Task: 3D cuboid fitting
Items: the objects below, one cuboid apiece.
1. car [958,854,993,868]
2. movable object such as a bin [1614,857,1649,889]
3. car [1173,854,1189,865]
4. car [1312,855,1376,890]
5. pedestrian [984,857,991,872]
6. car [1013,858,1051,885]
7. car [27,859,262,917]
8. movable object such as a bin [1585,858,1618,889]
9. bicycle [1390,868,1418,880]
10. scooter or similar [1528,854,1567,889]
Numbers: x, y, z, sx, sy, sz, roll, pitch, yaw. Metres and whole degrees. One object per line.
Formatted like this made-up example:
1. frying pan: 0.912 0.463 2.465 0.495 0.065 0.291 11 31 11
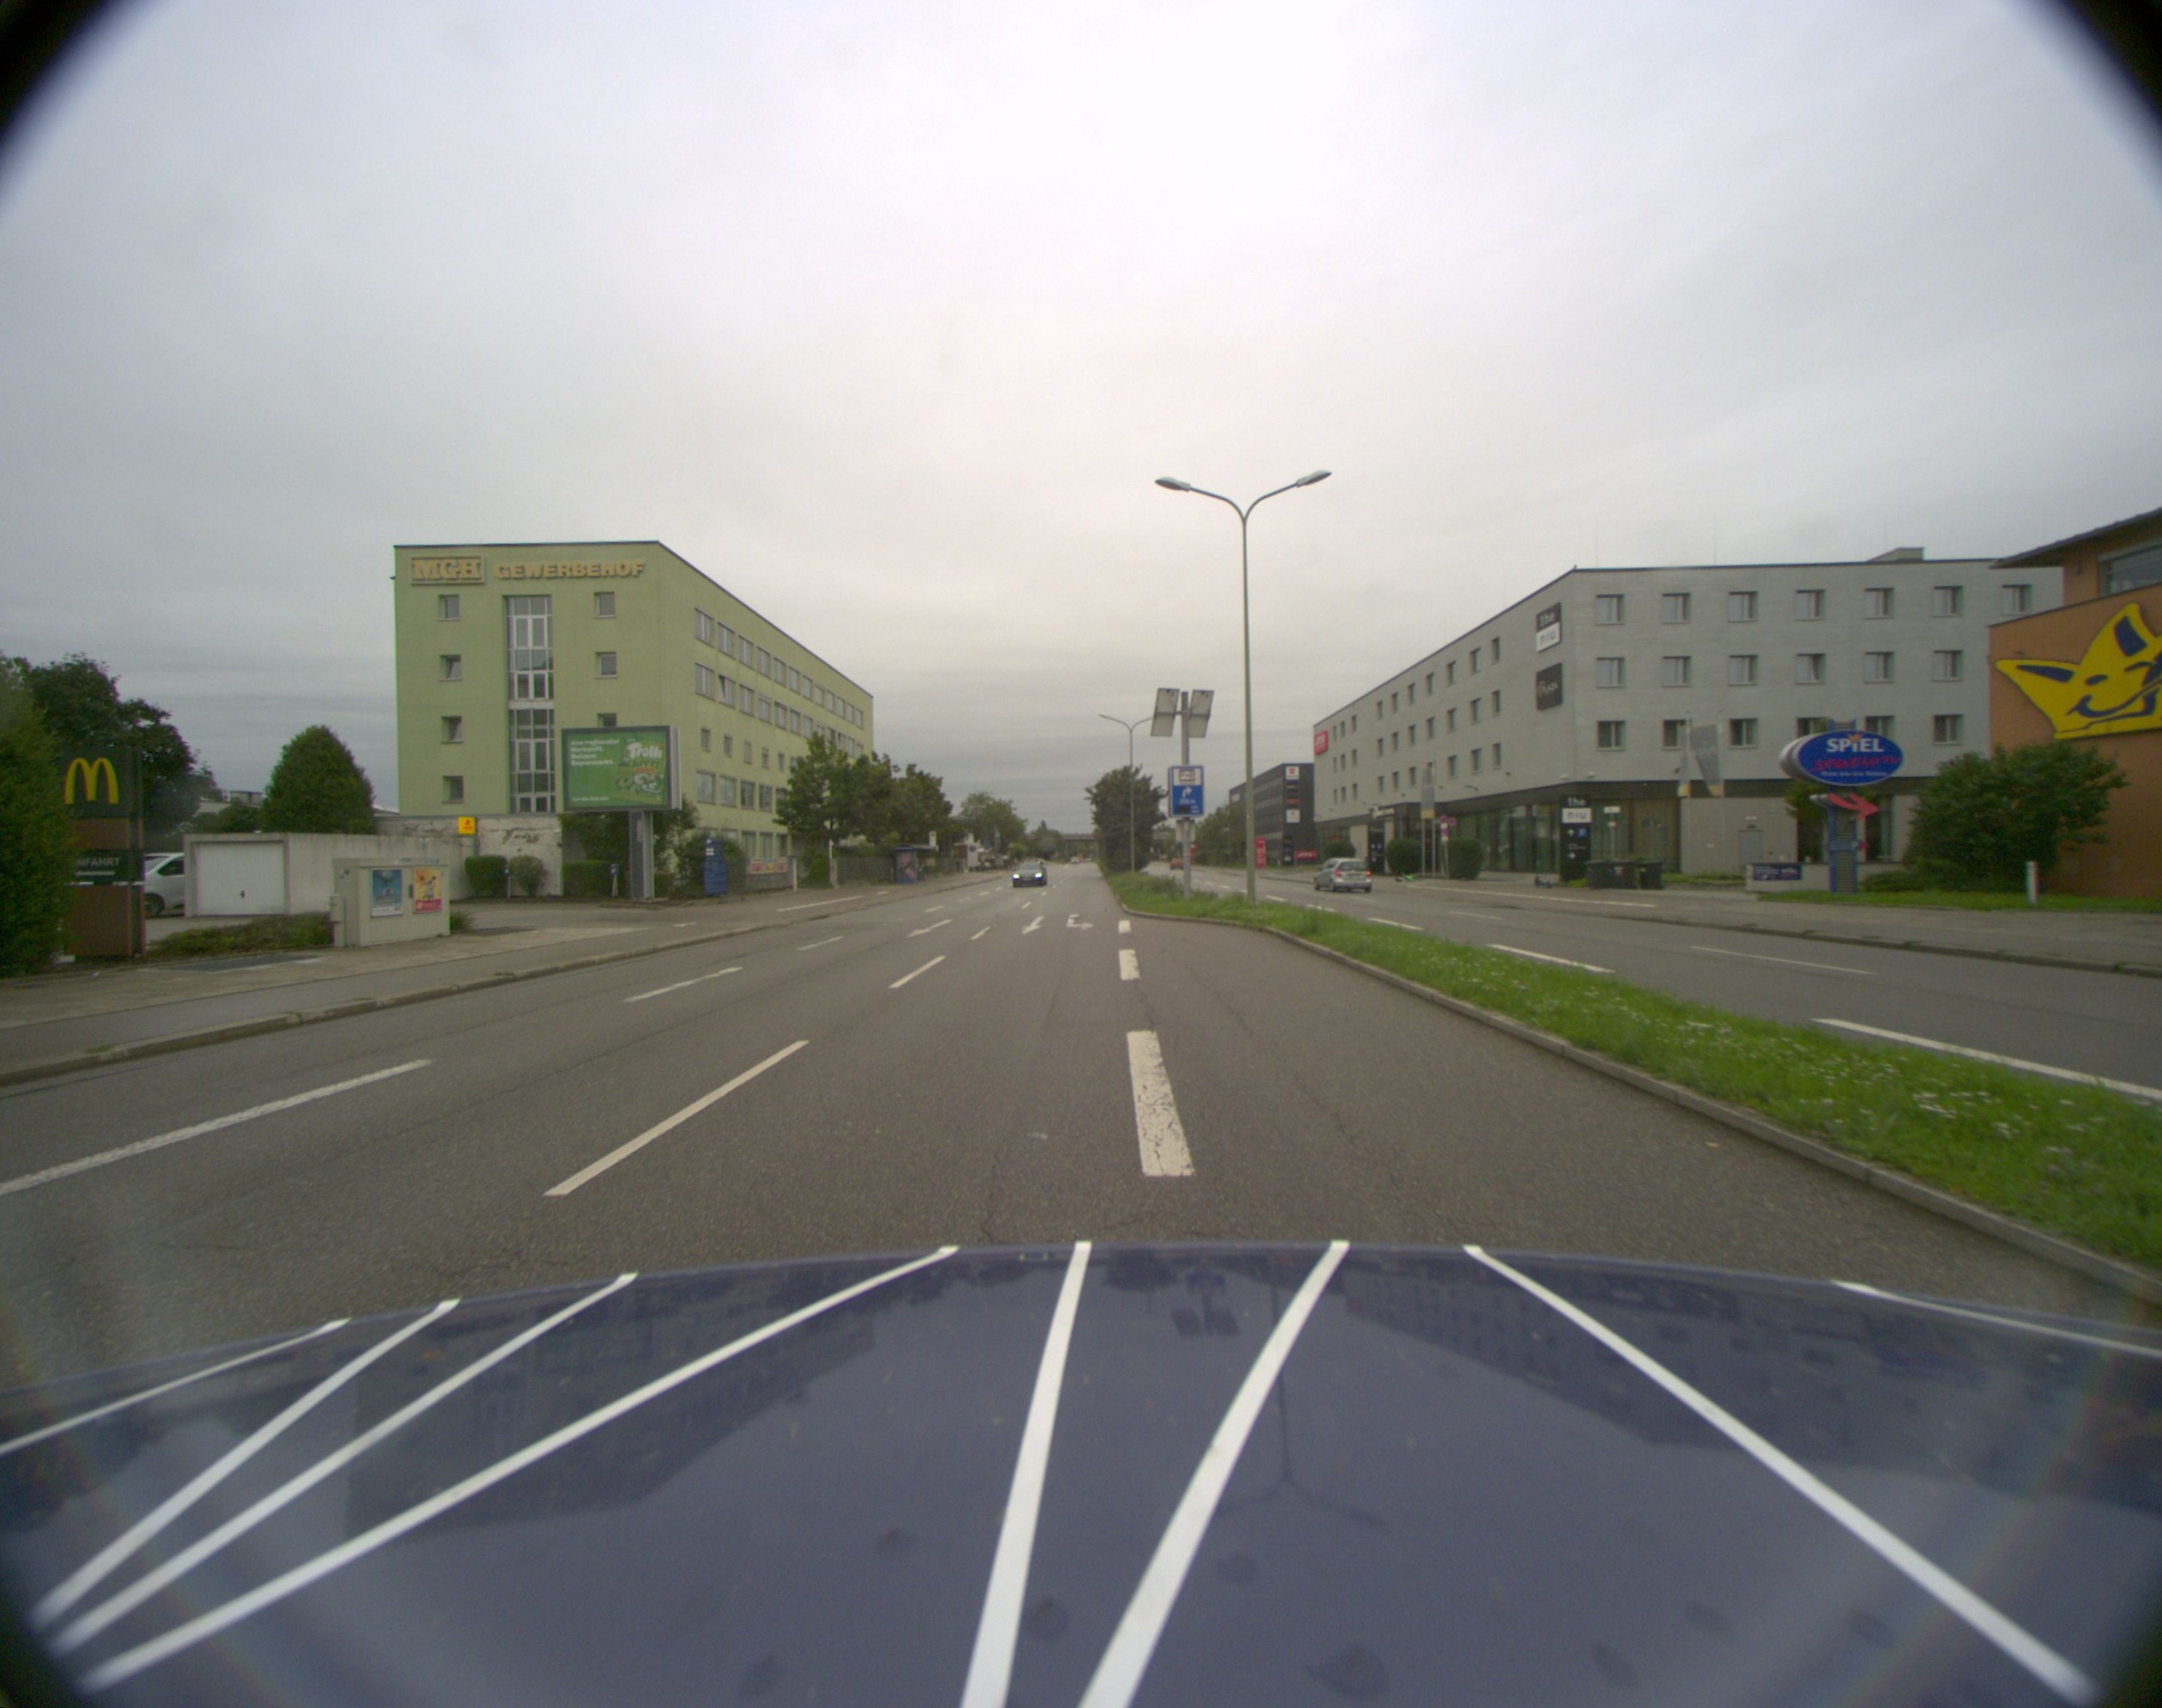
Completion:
1. car: -14.887 0.995 107.181 4.651 1.832 1.798 -2 0 -22
2. movable object such as a bin: 19.533 0.675 26.953 0.739 1.072 0.655 -2 1 2
3. car: 14.208 0.795 108.351 1.740 1.539 4.304 0 0 1
4. car: 12.355 0.841 35.948 1.818 1.548 4.027 0 0 3
5. pedestrian: -11.407 1.279 92.406 0.683 1.810 0.688 -2 1 0
6. car: -2.993 1.064 47.099 1.916 1.498 4.439 -2 0 2
7. car: -27.099 0.926 22.238 1.829 1.430 4.000 -2 0 1
8. movable object such as a bin: 18.972 0.696 27.688 0.739 1.072 0.655 -2 1 2
9. bicycle: 17.239 1.049 40.586 0.721 0.545 1.732 -4 0 1
10. scooter or similar: 18.313 0.669 29.835 0.587 1.270 1.404 -6 0 2
